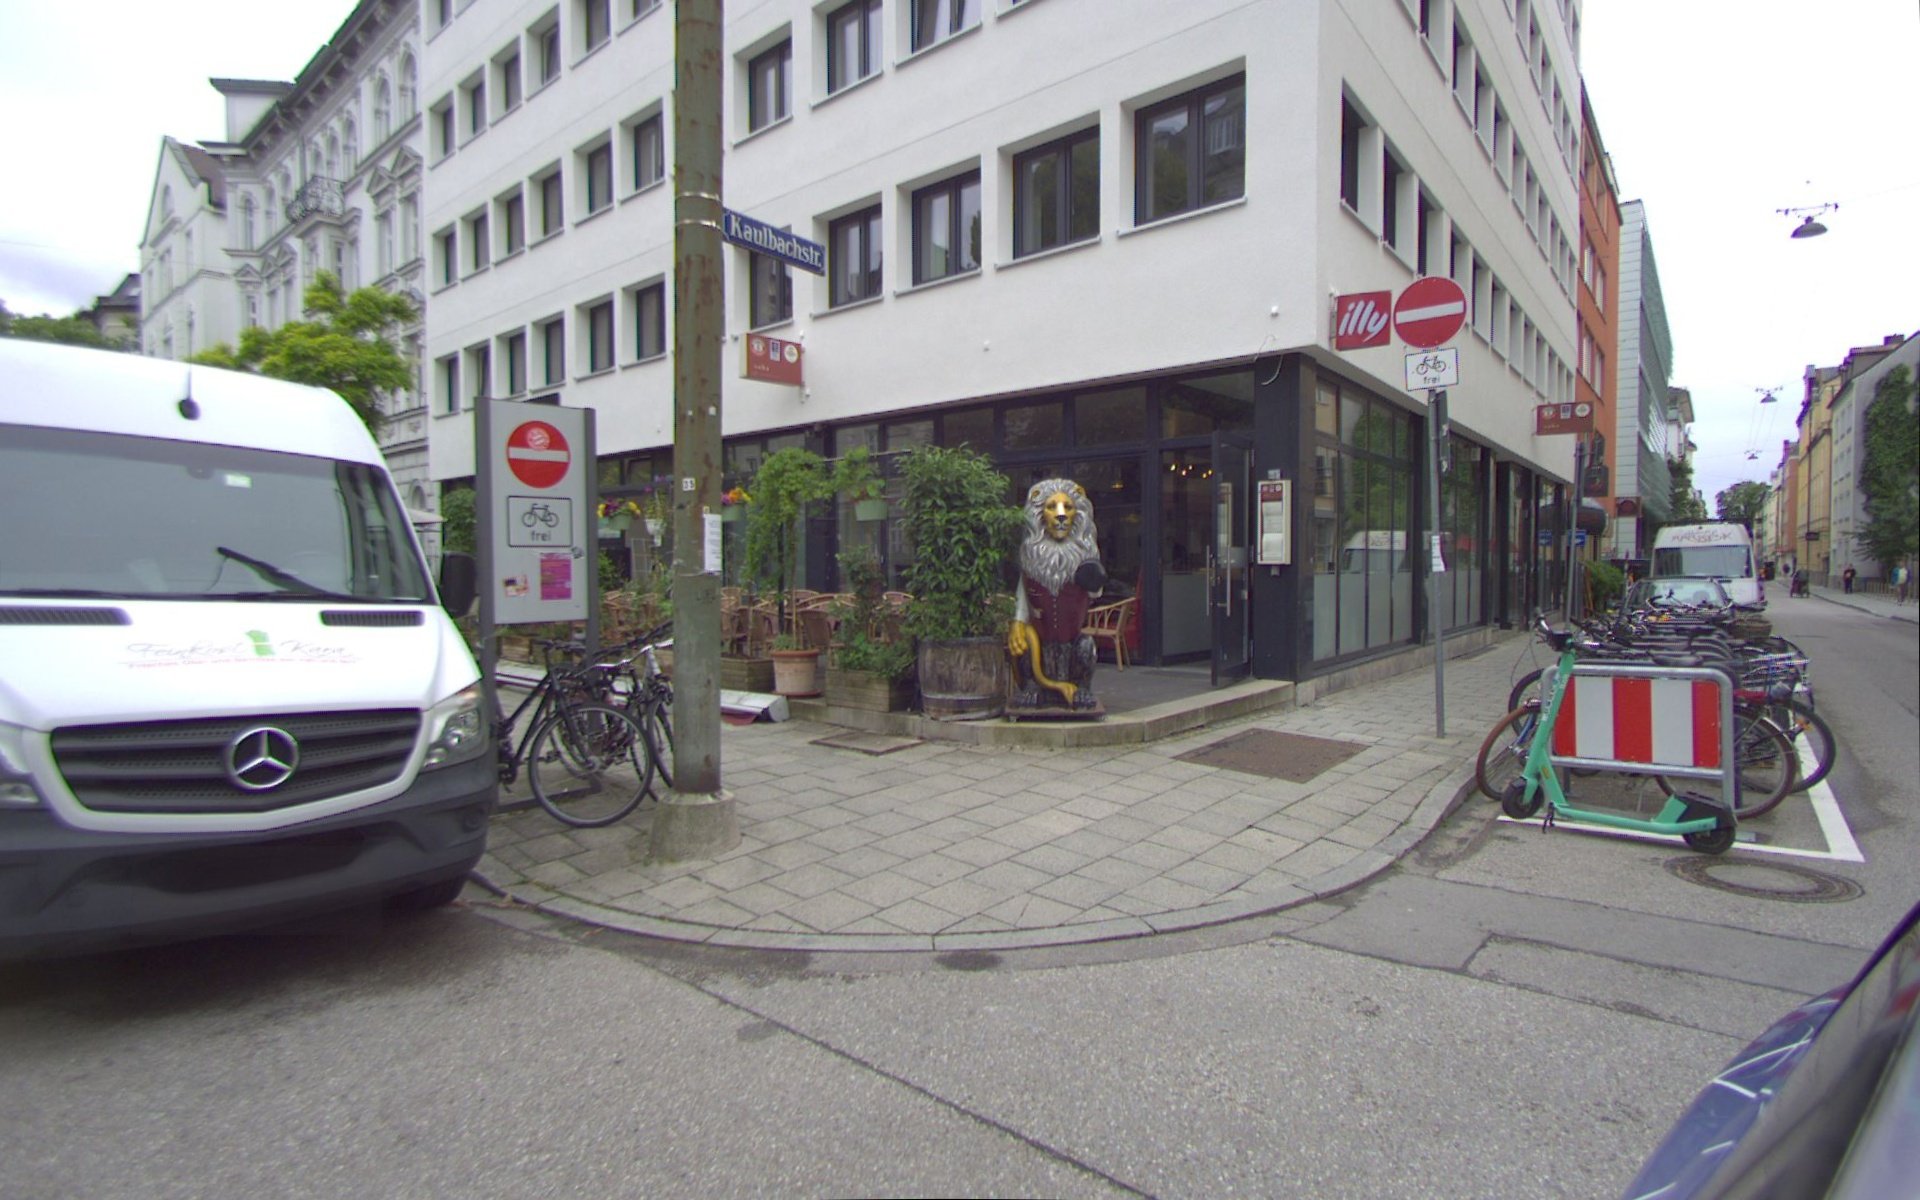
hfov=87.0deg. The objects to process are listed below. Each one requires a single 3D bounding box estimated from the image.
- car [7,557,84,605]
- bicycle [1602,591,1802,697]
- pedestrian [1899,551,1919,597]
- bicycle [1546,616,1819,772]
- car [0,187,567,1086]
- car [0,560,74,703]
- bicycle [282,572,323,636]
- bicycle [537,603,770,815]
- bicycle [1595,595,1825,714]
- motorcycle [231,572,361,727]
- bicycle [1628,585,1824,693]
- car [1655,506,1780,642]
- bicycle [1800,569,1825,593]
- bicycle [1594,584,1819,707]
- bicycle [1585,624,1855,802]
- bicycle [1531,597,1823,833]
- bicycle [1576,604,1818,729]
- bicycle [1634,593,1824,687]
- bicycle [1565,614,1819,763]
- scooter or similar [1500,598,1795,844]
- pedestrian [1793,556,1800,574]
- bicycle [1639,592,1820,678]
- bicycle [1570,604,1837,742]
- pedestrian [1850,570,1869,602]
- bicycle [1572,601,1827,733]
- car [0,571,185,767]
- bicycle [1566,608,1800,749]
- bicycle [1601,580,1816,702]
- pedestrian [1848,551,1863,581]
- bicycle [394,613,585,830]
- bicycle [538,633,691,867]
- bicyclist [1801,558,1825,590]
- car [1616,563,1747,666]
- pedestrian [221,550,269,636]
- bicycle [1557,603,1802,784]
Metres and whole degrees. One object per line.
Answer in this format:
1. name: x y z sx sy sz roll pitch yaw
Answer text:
1. car: -37.116 -0.804 41.042 3.985 1.838 1.970 1 2 43
2. bicycle: 8.741 0.495 12.002 1.868 1.172 0.558 -1 0 37
3. pedestrian: 39.322 -1.072 41.704 0.857 1.867 0.960 0 1 40
4. bicycle: 5.726 0.702 8.125 1.735 1.093 0.446 1 1 36
5. car: -4.455 0.046 5.503 5.893 2.623 2.027 1 1 44
6. car: -12.384 0.312 12.491 4.238 1.588 1.783 1 1 43
7. bicycle: -12.224 0.061 18.801 0.464 1.141 1.413 -1 2 -40
8. bicycle: -2.043 0.616 6.586 1.901 1.141 0.583 1 2 44
9. bicycle: 7.673 0.520 10.452 1.868 1.109 0.434 1 1 36
10. motorcycle: -6.752 0.425 10.240 2.172 1.402 0.648 2 2 45
11. bicycle: 9.324 0.439 12.394 1.869 1.219 0.482 1 1 37
12. car: 16.360 -0.570 21.911 1.915 2.537 5.918 0 1 37
13. bicycle: 47.547 -1.065 56.460 0.930 1.272 2.382 2 4 38
14. bicycle: 7.970 0.441 10.899 1.888 1.184 0.558 2 2 36
15. bicycle: 5.180 0.732 7.001 1.444 1.083 0.458 0 1 31
16. bicycle: 4.429 0.644 6.326 1.455 1.301 0.439 1 2 40
17. bicycle: 7.176 0.611 9.965 1.868 1.064 0.557 1 4 36
18. bicycle: 9.658 0.479 12.785 1.868 1.122 0.482 -1 0 37
19. bicycle: 6.018 0.688 8.414 1.669 1.093 0.332 1 1 36
20. scooter or similar: 3.872 0.619 5.765 1.351 1.225 0.411 1 2 41
21. pedestrian: 84.943 -3.548 102.769 0.491 1.847 0.545 2 2 37
22. bicycle: 10.225 0.457 13.521 1.868 1.093 0.482 -1 -1 37
23. bicycle: 6.552 0.602 9.027 1.868 1.093 0.403 1 1 36
24. pedestrian: 53.436 -0.839 60.133 0.774 1.859 0.978 1 2 38
25. bicycle: 6.787 0.577 9.393 1.868 1.093 0.397 1 1 36
26. car: -8.510 0.481 9.047 3.984 1.466 1.769 1 0 41
27. bicycle: 6.196 0.634 8.758 1.608 1.093 0.373 1 1 36
28. bicycle: 8.355 0.417 11.384 1.869 1.219 0.572 2 3 37
29. pedestrian: 51.294 -1.964 57.947 0.551 1.680 0.984 1 2 37
30. bicycle: -2.774 0.643 5.901 1.499 1.085 0.365 1 2 38
31. bicycle: -1.983 0.789 5.750 0.334 1.141 1.179 -2 2 -45
32. bicyclist: 47.301 -1.460 56.116 0.925 1.742 1.085 3 3 38
33. car: 11.801 0.147 16.525 1.576 1.482 3.505 1 2 37
34. pedestrian: -14.711 -0.161 20.846 0.711 1.736 0.689 -1 1 -30
35. bicycle: 5.265 0.647 7.503 1.444 1.222 0.391 0 1 32
